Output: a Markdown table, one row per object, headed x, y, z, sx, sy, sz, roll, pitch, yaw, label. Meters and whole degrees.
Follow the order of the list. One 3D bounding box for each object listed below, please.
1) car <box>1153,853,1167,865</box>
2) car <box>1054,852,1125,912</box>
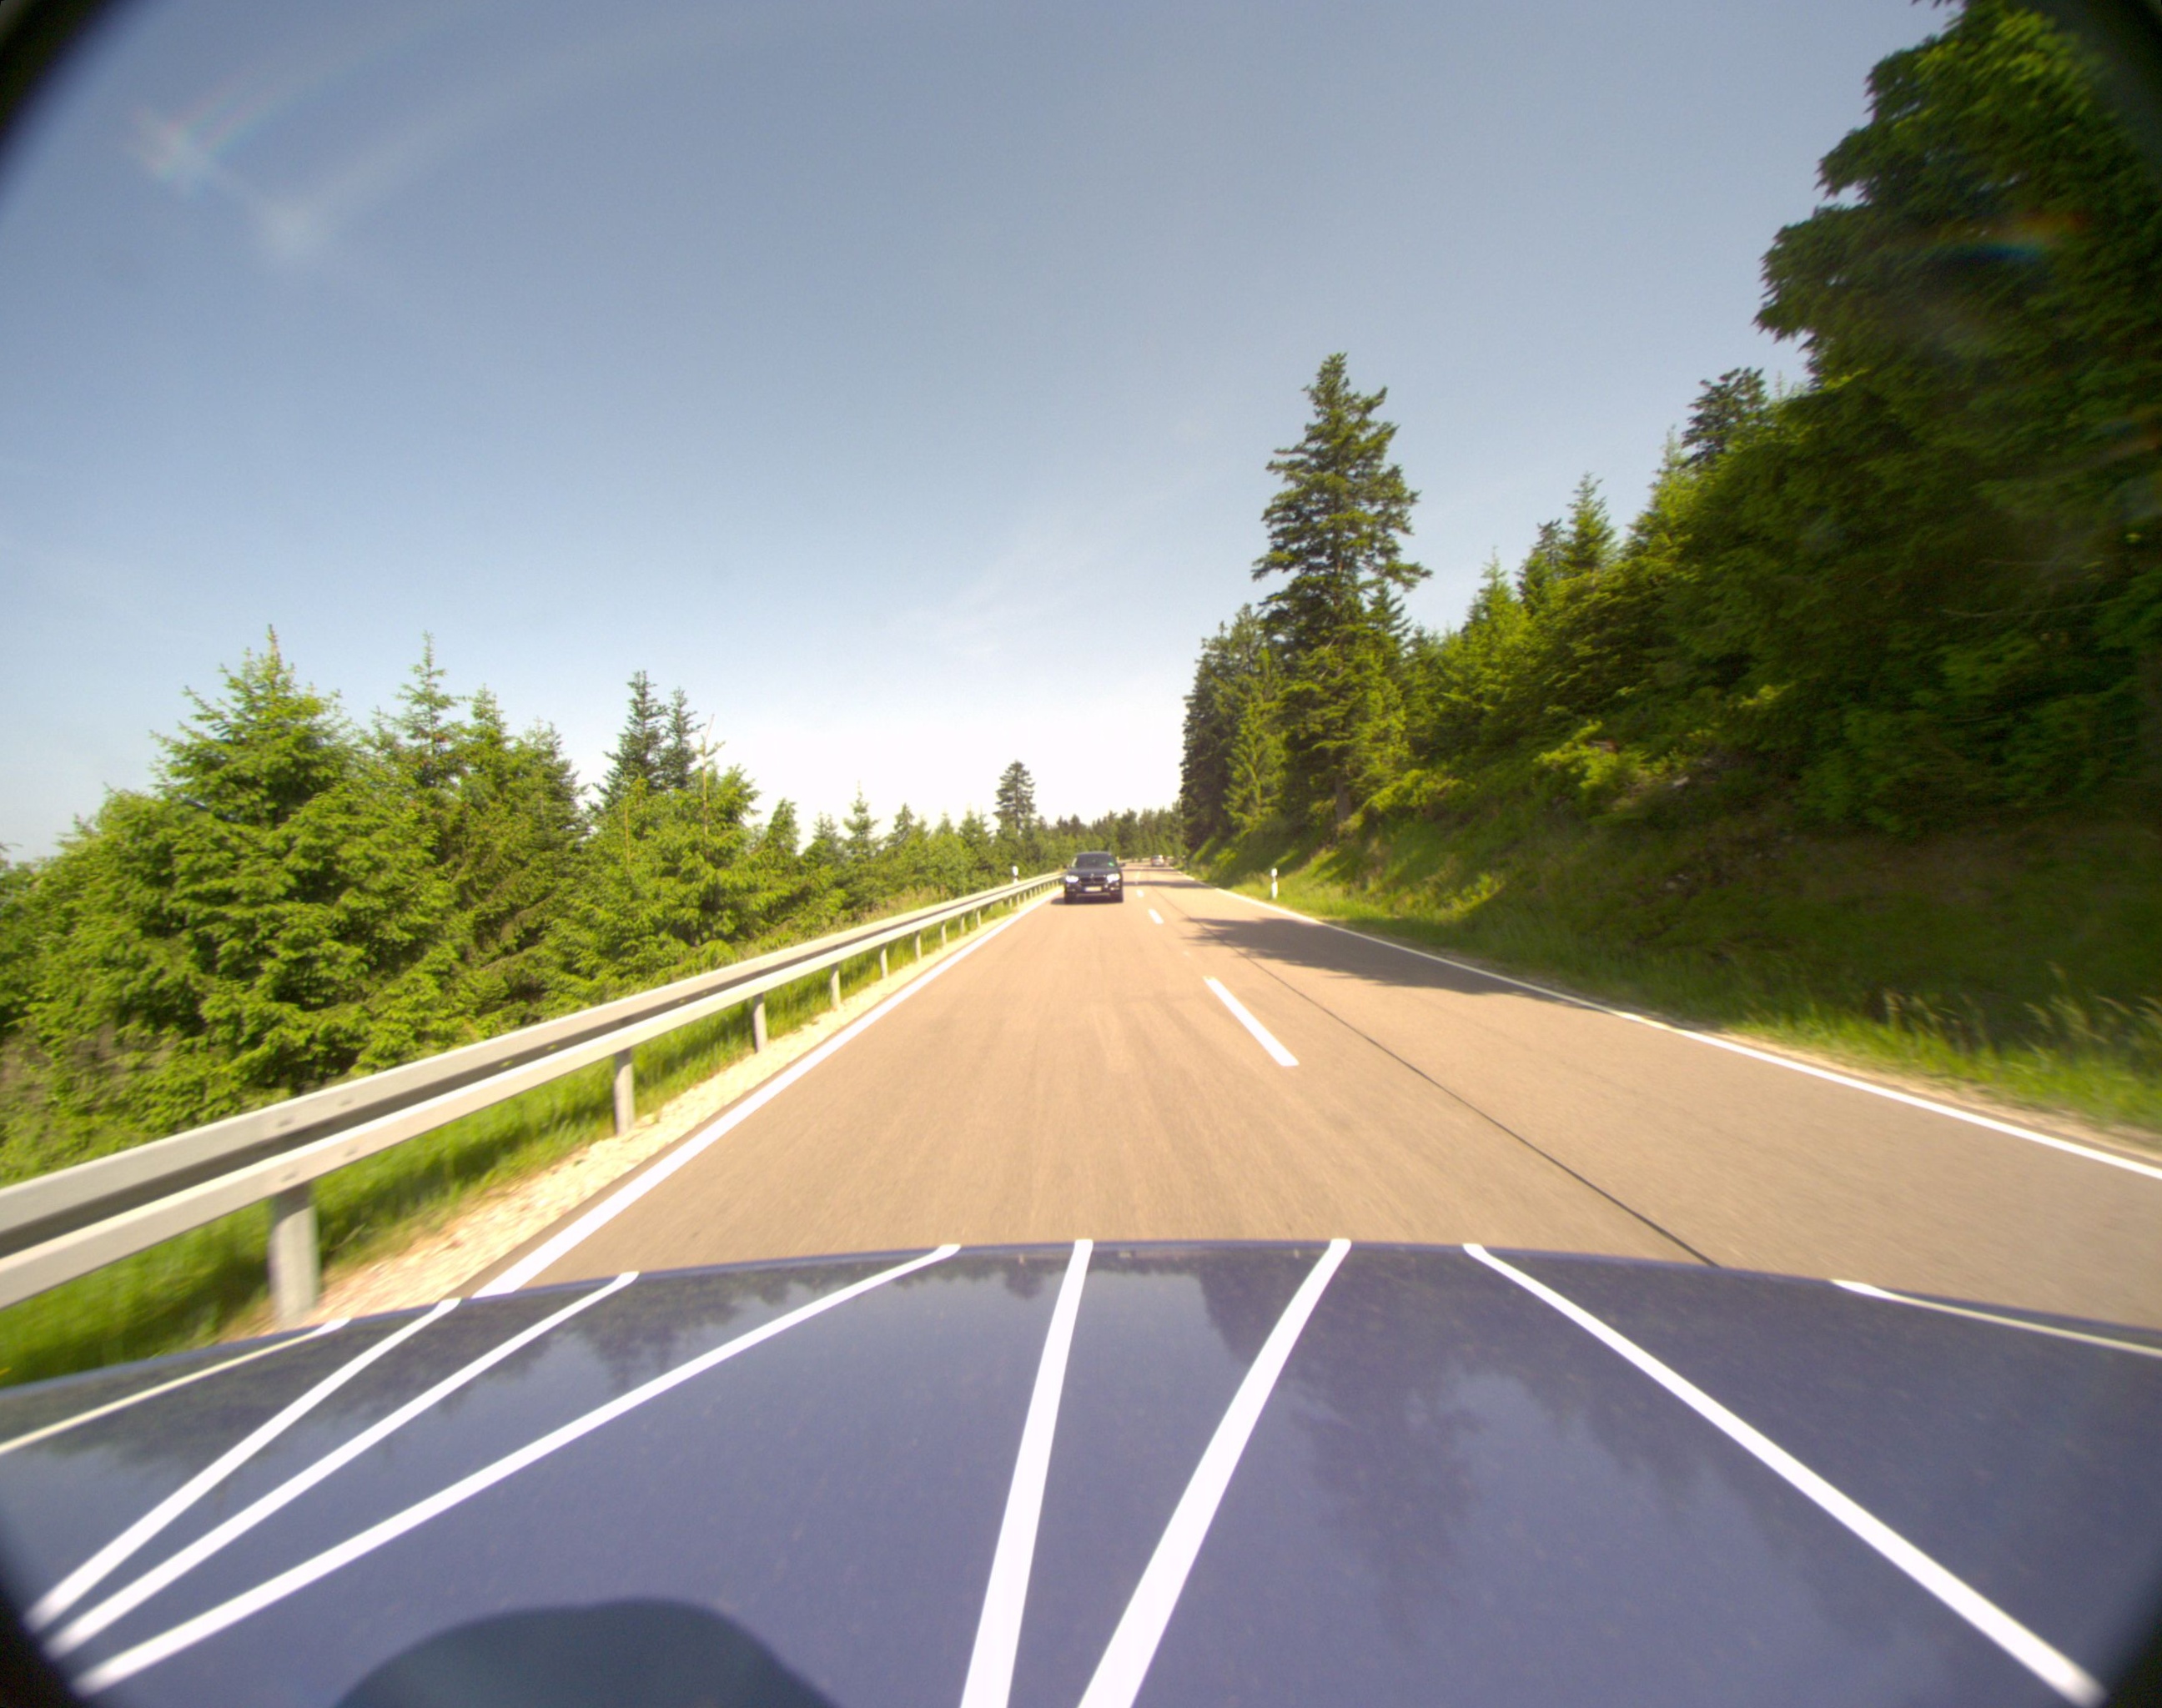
| x | y | z | sx | sy | sz | roll | pitch | yaw | label |
| --- | --- | --- | --- | --- | --- | --- | --- | --- | --- |
| 9.928 | 0.634 | 96.037 | 1.688 | 1.406 | 3.263 | 0 | 0 | 4 | car |
| 0.414 | 0.826 | 24.944 | 1.998 | 1.676 | 5.938 | -2 | 0 | 3 | car |
